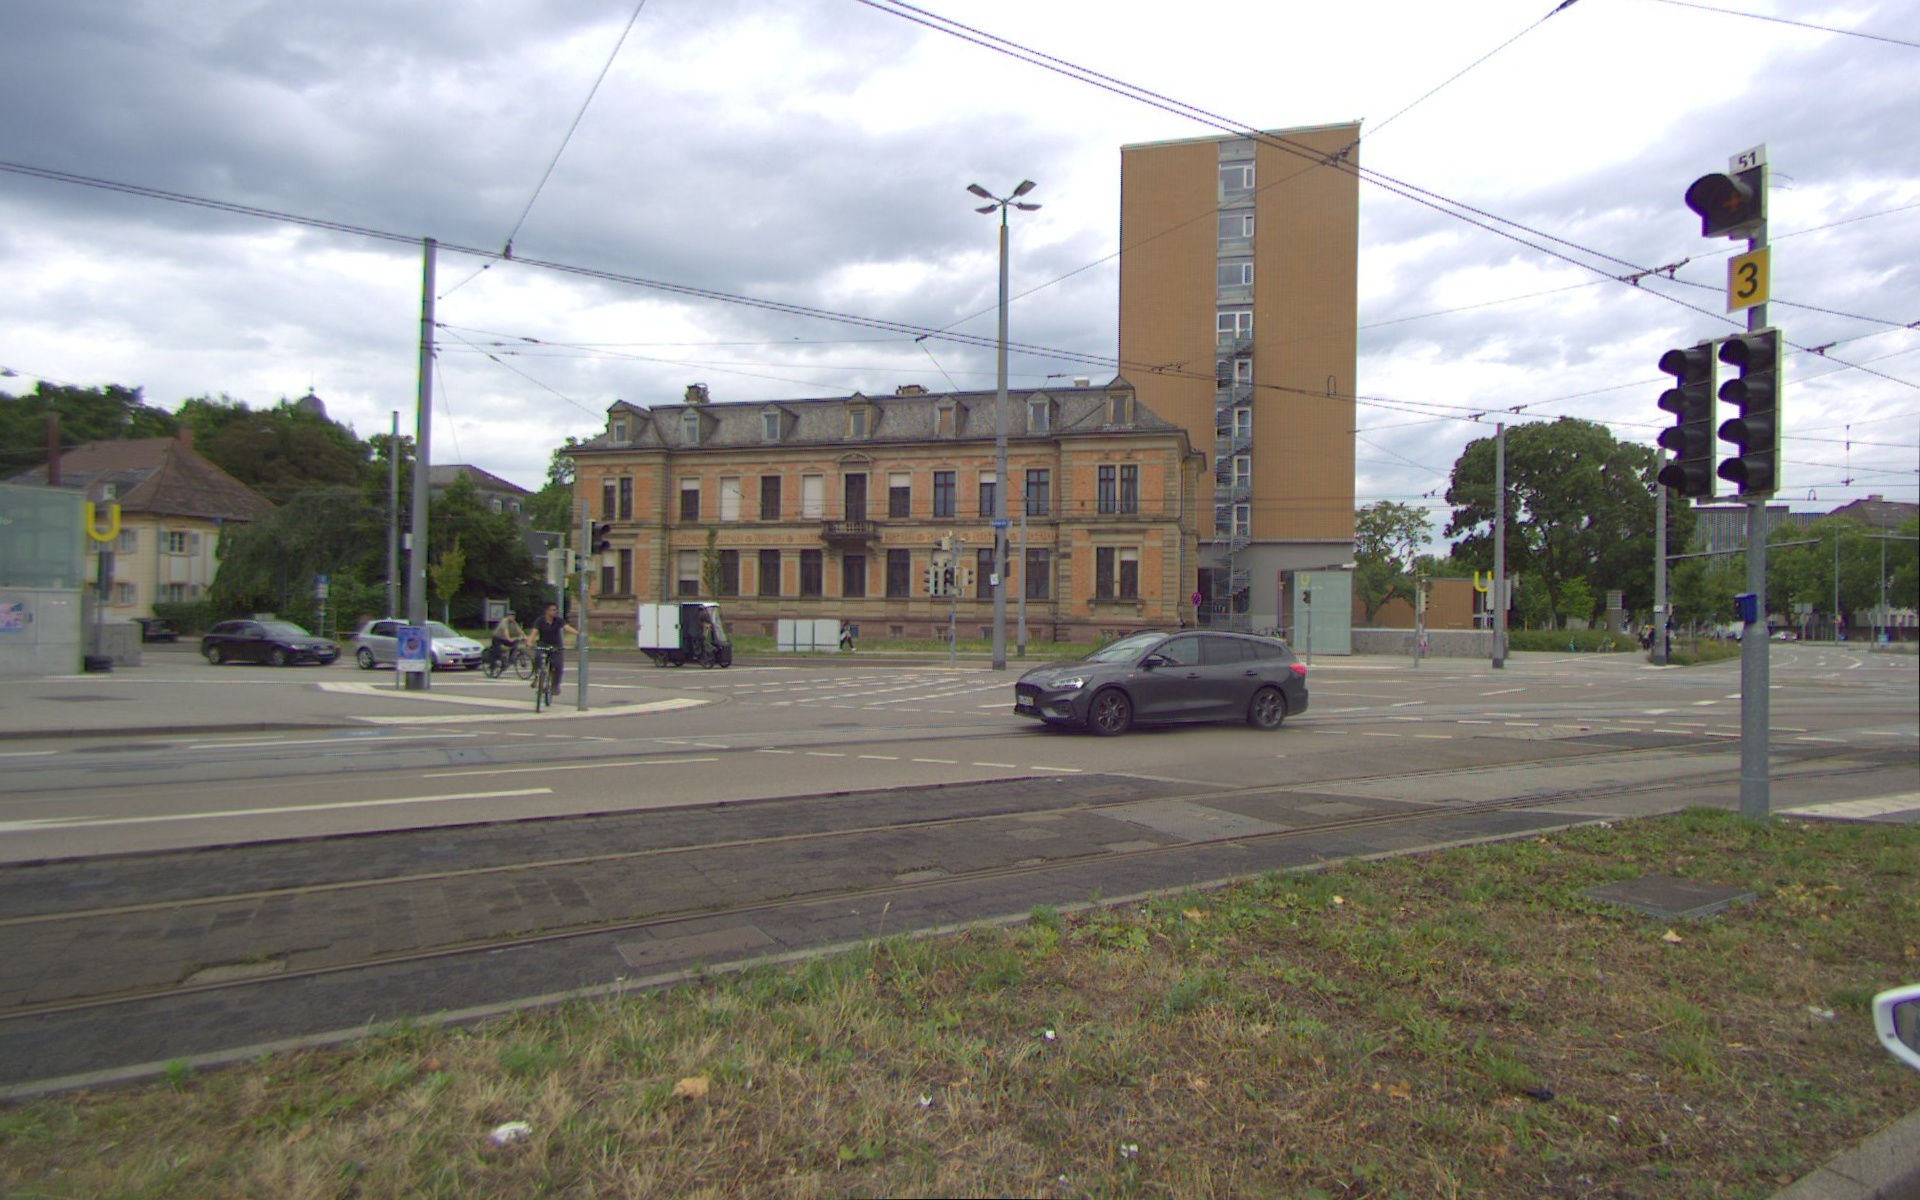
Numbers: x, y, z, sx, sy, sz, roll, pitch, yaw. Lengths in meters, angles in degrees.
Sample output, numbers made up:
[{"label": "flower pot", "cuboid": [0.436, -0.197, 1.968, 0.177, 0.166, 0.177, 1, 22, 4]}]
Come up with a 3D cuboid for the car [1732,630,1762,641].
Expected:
[{"label": "car", "cuboid": [111.403, 5.002, 142.202, 1.745, 1.483, 4.002, 1, 0, 13]}]

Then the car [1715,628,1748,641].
[{"label": "car", "cuboid": [94.935, 4.250, 123.639, 1.746, 1.483, 4.002, 1, -1, 14]}]

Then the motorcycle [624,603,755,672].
[{"label": "motorcycle", "cuboid": [-8.492, 1.130, 31.547, 3.614, 2.040, 1.696, 1, -1, 19]}]

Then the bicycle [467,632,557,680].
[{"label": "bicycle", "cuboid": [-11.868, 1.462, 26.605, 2.154, 1.224, 0.857, 0, -2, 20]}]

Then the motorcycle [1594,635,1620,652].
[{"label": "motorcycle", "cuboid": [43.687, 2.940, 67.842, 1.716, 1.126, 0.510, 1, -1, -17]}]

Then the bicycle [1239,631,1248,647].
[{"label": "bicycle", "cuboid": [20.994, 2.902, 74.307, 0.561, 1.120, 1.428, 1, -1, 18]}]

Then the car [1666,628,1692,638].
[{"label": "car", "cuboid": [113.903, 5.260, 159.135, 1.745, 1.483, 4.002, 1, 0, 11]}]

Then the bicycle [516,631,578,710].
[{"label": "bicycle", "cuboid": [-7.056, 1.167, 17.095, 0.805, 1.259, 1.986, 0, -2, -27]}]

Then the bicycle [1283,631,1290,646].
[{"label": "bicycle", "cuboid": [23.894, 2.781, 73.488, 0.472, 1.063, 1.428, 1, -1, 18]}]

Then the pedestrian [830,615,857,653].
[{"label": "pedestrian", "cuboid": [-5.619, 1.624, 48.360, 1.104, 1.786, 0.759, 1, -1, 8]}]

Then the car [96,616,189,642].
[{"label": "car", "cuboid": [-45.032, 1.589, 55.364, 3.919, 1.305, 1.936, 1, -1, 12]}]

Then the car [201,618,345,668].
[{"label": "car", "cuboid": [-22.044, 1.349, 32.237, 4.061, 1.468, 1.697, 1, -1, 18]}]

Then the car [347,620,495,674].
[{"label": "car", "cuboid": [-16.245, 1.378, 30.266, 4.081, 1.473, 1.761, 0, -1, 23]}]

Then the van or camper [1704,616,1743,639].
[{"label": "van or camper", "cuboid": [108.264, 3.822, 142.511, 2.347, 3.165, 5.507, 1, -1, 12]}]

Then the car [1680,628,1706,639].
[{"label": "car", "cuboid": [109.935, 5.047, 150.616, 1.746, 1.483, 4.002, 1, 0, 15]}]

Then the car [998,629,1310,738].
[{"label": "car", "cuboid": [2.868, 1.161, 14.832, 4.329, 1.414, 1.690, 1, -1, -23]}]

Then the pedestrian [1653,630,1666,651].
[{"label": "pedestrian", "cuboid": [66.060, 3.810, 94.880, 0.868, 2.007, 0.792, 0, -2, 42]}]

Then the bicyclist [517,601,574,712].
[{"label": "bicyclist", "cuboid": [-7.087, 0.936, 17.165, 0.805, 1.822, 1.022, 0, 0, -28]}]

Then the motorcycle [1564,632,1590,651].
[{"label": "motorcycle", "cuboid": [41.584, 2.798, 67.716, 1.443, 1.285, 0.512, 1, -1, 14]}]

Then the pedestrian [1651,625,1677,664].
[{"label": "pedestrian", "cuboid": [36.732, 2.311, 52.422, 1.009, 2.040, 0.842, 0, -1, 41]}]

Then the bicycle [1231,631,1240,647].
[{"label": "bicycle", "cuboid": [20.430, 2.900, 74.480, 0.561, 1.120, 1.428, 1, -1, 18]}]

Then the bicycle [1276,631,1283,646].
[{"label": "bicycle", "cuboid": [23.398, 2.790, 73.648, 0.472, 1.063, 1.428, 1, -1, 18]}]

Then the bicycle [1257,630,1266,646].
[{"label": "bicycle", "cuboid": [22.200, 2.796, 73.970, 0.561, 1.120, 1.428, 1, -1, 18]}]

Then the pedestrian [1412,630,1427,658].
[{"label": "pedestrian", "cuboid": [23.086, 2.201, 50.433, 0.562, 1.353, 0.499, 1, -1, 10]}]

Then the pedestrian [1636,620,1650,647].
[{"label": "pedestrian", "cuboid": [51.465, 2.533, 75.695, 0.781, 2.007, 0.880, 1, -2, 26]}]

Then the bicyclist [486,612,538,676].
[{"label": "bicyclist", "cuboid": [-11.857, 1.163, 26.613, 0.899, 1.644, 0.855, 0, -1, 20]}]
